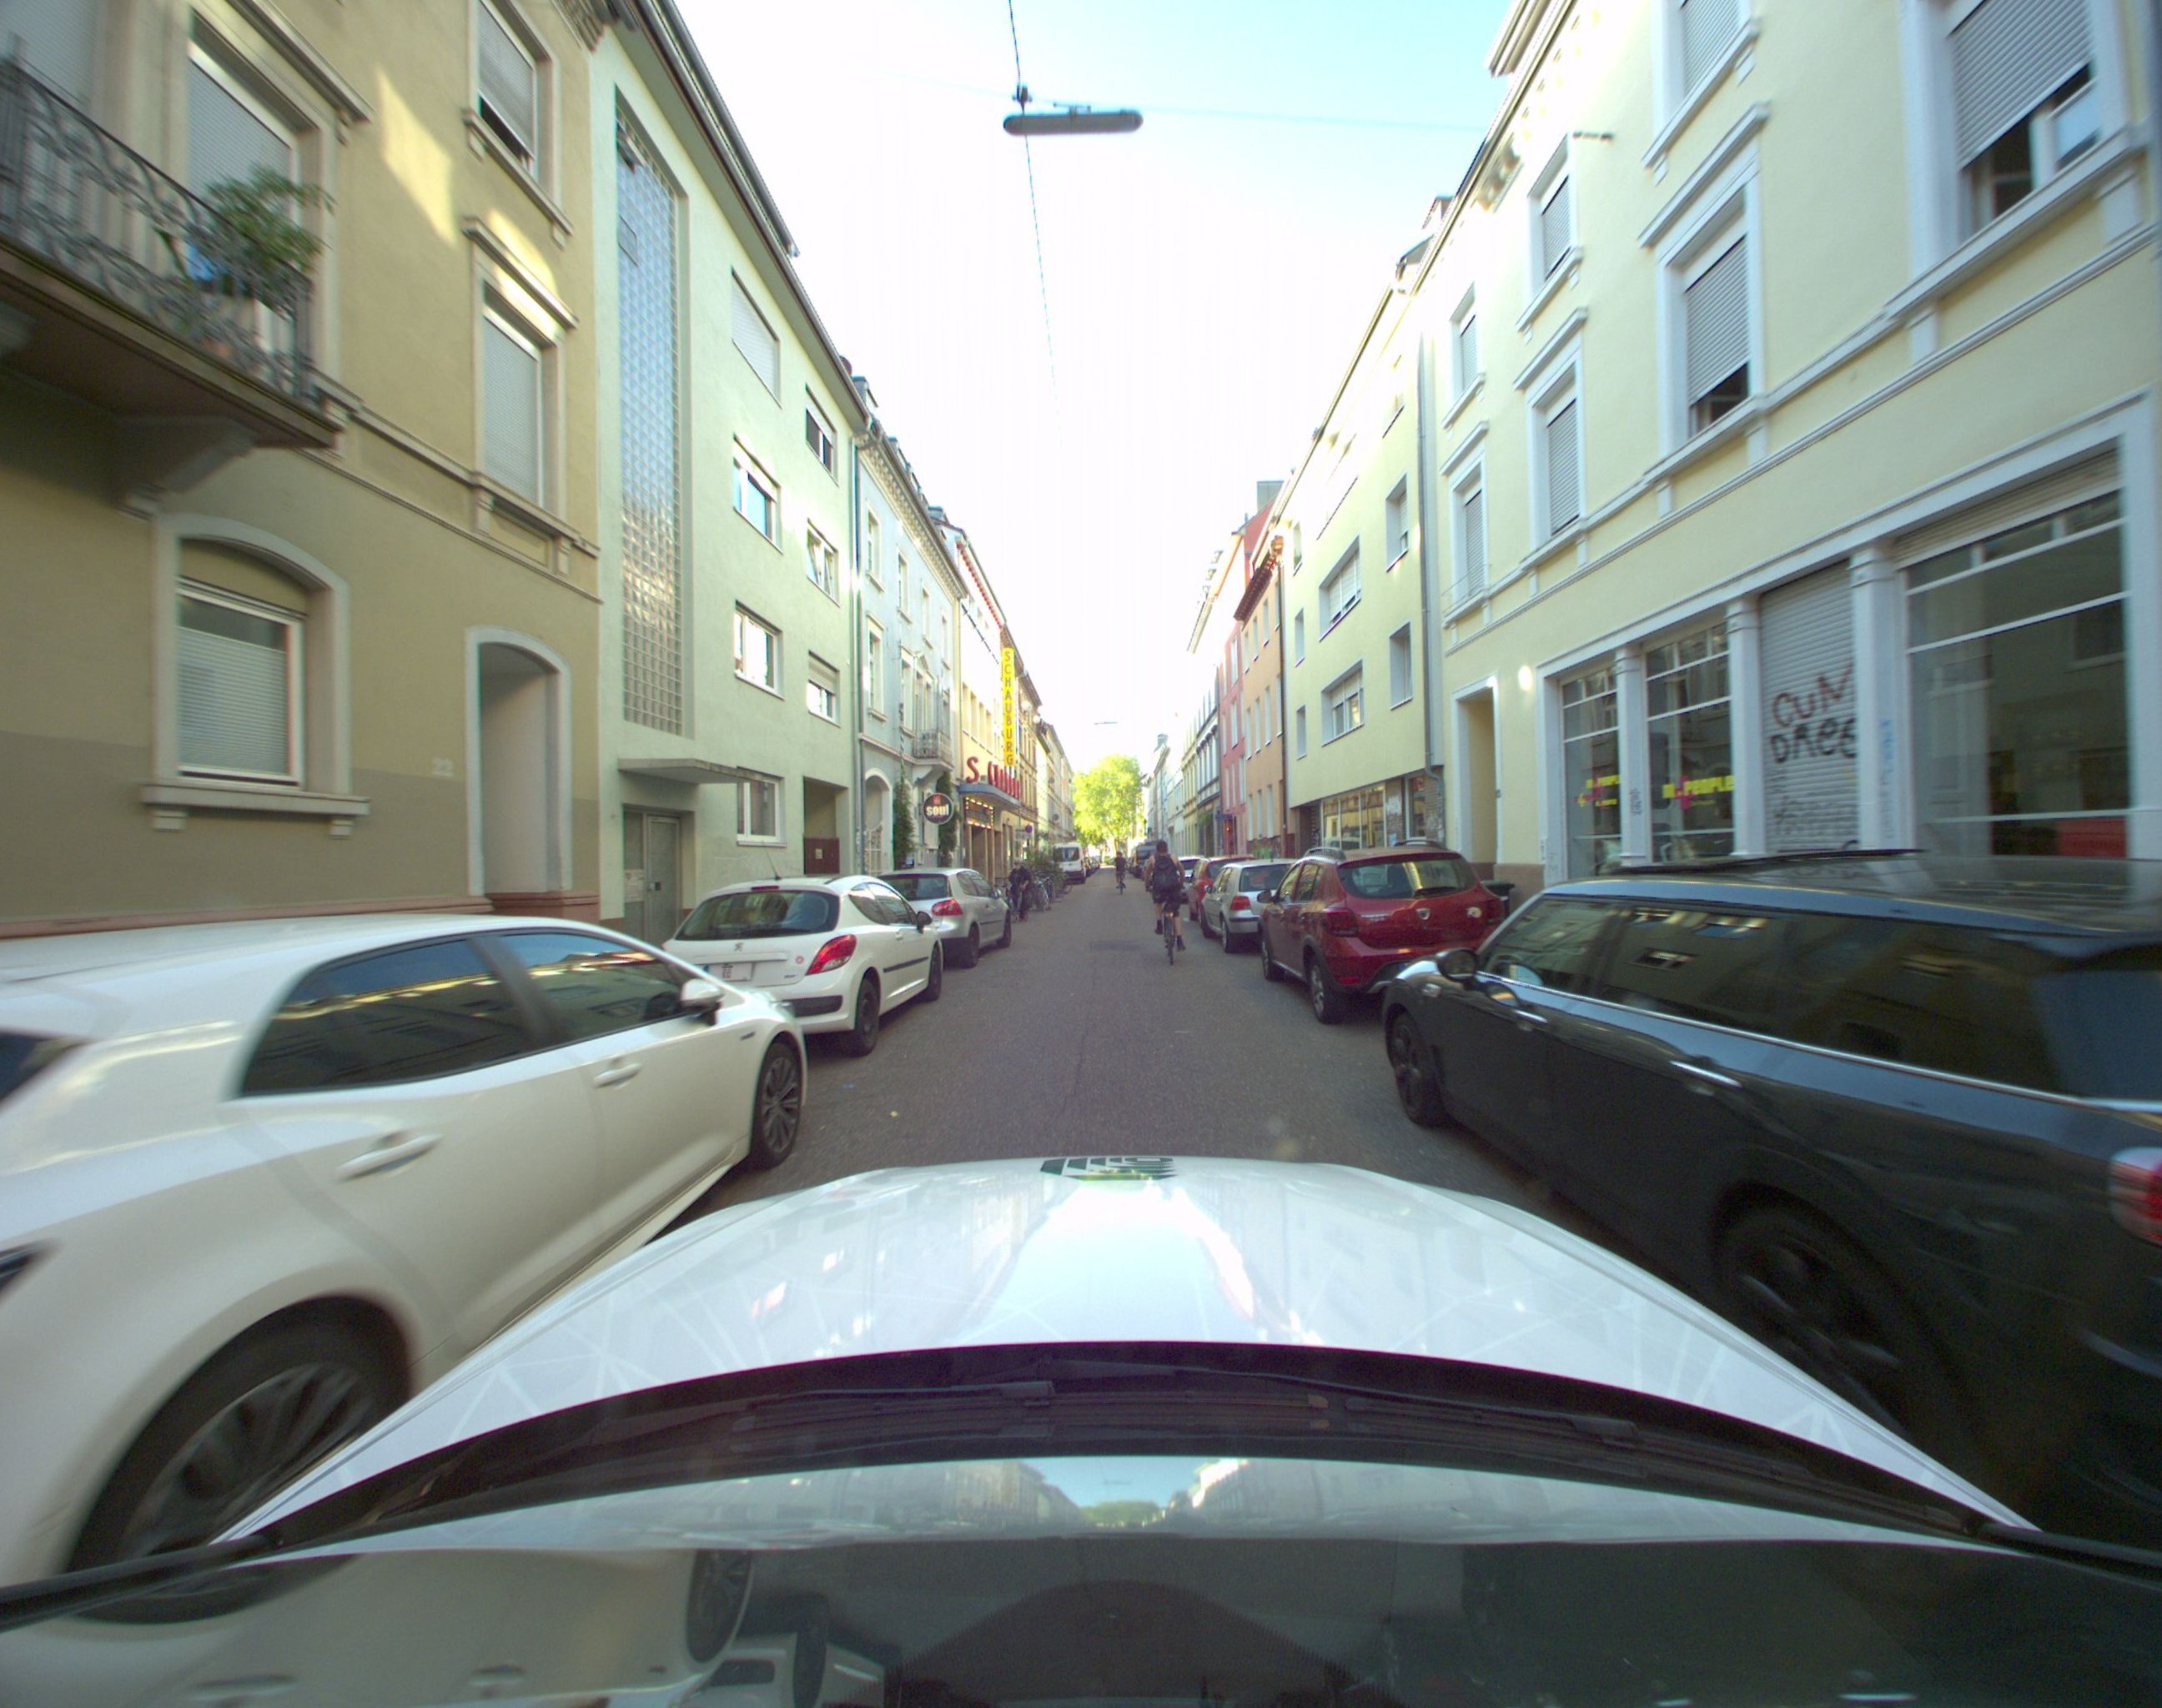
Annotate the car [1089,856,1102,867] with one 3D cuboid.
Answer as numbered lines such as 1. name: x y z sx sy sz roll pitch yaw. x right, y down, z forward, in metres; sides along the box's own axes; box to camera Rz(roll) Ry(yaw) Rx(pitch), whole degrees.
1. car: 2.160 1.097 118.483 1.665 1.442 4.167 -4 -1 2

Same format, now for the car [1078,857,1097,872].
1. car: 0.697 1.069 83.157 1.665 1.442 4.167 -4 -1 2

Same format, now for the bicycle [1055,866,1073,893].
1. bicycle: -0.768 1.136 36.906 0.756 1.163 2.273 0 -1 -2

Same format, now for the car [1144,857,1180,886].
1. car: 4.541 0.966 45.935 1.704 1.447 4.002 -4 -1 2

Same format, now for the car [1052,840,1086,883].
1. car: -0.685 0.450 50.244 1.903 2.497 4.165 -2 0 0

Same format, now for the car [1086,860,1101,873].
1. car: 1.516 1.454 98.676 1.665 1.442 4.167 -4 -1 2

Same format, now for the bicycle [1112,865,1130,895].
1. bicycle: 1.655 1.064 34.179 0.699 1.208 2.343 -1 0 2

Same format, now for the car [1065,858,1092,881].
1. car: -0.129 1.045 57.092 1.665 1.442 4.167 -4 -1 2

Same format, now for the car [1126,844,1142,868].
1. car: 8.676 0.351 134.218 2.299 3.768 6.772 -4 -1 2

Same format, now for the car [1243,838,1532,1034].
1. car: 2.994 0.722 8.917 1.704 1.556 4.002 -4 -1 2

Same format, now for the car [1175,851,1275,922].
1. car: 3.265 0.713 19.126 1.704 1.383 4.002 -4 -1 2

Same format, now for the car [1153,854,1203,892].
1. car: 4.020 0.787 34.392 1.704 1.393 4.002 -4 -1 2

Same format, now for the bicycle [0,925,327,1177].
1. bicycle: -5.450 1.011 4.477 0.590 1.089 2.080 0 -1 3

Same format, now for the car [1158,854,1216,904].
1. car: 3.700 0.866 28.941 1.614 1.550 4.002 -4 -1 2

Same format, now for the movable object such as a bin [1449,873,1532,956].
1. movable object such as a bin: 5.800 0.846 11.567 0.803 1.075 0.679 -4 -1 6

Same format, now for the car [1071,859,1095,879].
1. car: 0.193 1.147 64.590 1.665 1.442 4.167 -4 -1 2

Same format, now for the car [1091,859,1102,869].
1. car: 2.400 1.506 125.838 1.665 1.442 4.167 -4 -1 2

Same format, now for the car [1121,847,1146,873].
1. car: 5.531 0.696 86.875 2.299 2.538 6.772 -4 -1 2

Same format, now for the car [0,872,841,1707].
1. car: -2.362 0.853 2.849 1.666 1.442 4.165 -4 -1 1

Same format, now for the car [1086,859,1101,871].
1. car: 1.631 1.391 105.906 1.665 1.442 4.167 -4 -1 2

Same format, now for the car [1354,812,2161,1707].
1. car: 2.662 0.688 3.297 1.810 1.521 4.002 -4 -1 2

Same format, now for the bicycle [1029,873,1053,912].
1. bicycle: -1.204 1.162 24.935 0.697 1.105 2.273 0 -1 -2

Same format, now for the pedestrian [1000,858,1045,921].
1. pedestrian: -1.509 0.907 20.987 0.904 1.578 0.765 0 -1 -34

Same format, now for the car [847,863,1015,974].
1. car: -2.243 0.918 13.216 1.664 1.442 3.758 -4 -1 5

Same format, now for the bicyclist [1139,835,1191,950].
1. bicyclist: 1.238 0.560 12.166 0.699 1.633 1.090 0 -1 2

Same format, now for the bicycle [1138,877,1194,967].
1. bicycle: 1.253 0.966 12.358 0.699 1.208 2.343 0 -1 2

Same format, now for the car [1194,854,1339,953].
1. car: 3.072 0.772 14.292 1.704 1.383 4.002 -4 -1 2

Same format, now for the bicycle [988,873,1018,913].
1. bicycle: -2.380 1.173 25.057 0.756 1.134 2.273 0 -1 -2

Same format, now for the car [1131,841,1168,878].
1. car: 5.114 0.422 61.418 2.299 2.538 6.772 -4 -1 2

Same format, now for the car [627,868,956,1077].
1. car: -2.449 0.915 7.948 1.665 1.442 3.769 -4 -1 2

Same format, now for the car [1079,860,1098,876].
1. car: 0.734 1.308 77.125 1.665 1.442 4.167 -4 -1 2

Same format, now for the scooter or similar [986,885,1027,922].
1. scooter or similar: -1.888 1.249 20.717 0.774 0.873 0.765 0 -1 -34

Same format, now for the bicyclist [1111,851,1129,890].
1. bicyclist: 1.645 0.688 34.168 0.699 1.605 0.813 -1 0 1
